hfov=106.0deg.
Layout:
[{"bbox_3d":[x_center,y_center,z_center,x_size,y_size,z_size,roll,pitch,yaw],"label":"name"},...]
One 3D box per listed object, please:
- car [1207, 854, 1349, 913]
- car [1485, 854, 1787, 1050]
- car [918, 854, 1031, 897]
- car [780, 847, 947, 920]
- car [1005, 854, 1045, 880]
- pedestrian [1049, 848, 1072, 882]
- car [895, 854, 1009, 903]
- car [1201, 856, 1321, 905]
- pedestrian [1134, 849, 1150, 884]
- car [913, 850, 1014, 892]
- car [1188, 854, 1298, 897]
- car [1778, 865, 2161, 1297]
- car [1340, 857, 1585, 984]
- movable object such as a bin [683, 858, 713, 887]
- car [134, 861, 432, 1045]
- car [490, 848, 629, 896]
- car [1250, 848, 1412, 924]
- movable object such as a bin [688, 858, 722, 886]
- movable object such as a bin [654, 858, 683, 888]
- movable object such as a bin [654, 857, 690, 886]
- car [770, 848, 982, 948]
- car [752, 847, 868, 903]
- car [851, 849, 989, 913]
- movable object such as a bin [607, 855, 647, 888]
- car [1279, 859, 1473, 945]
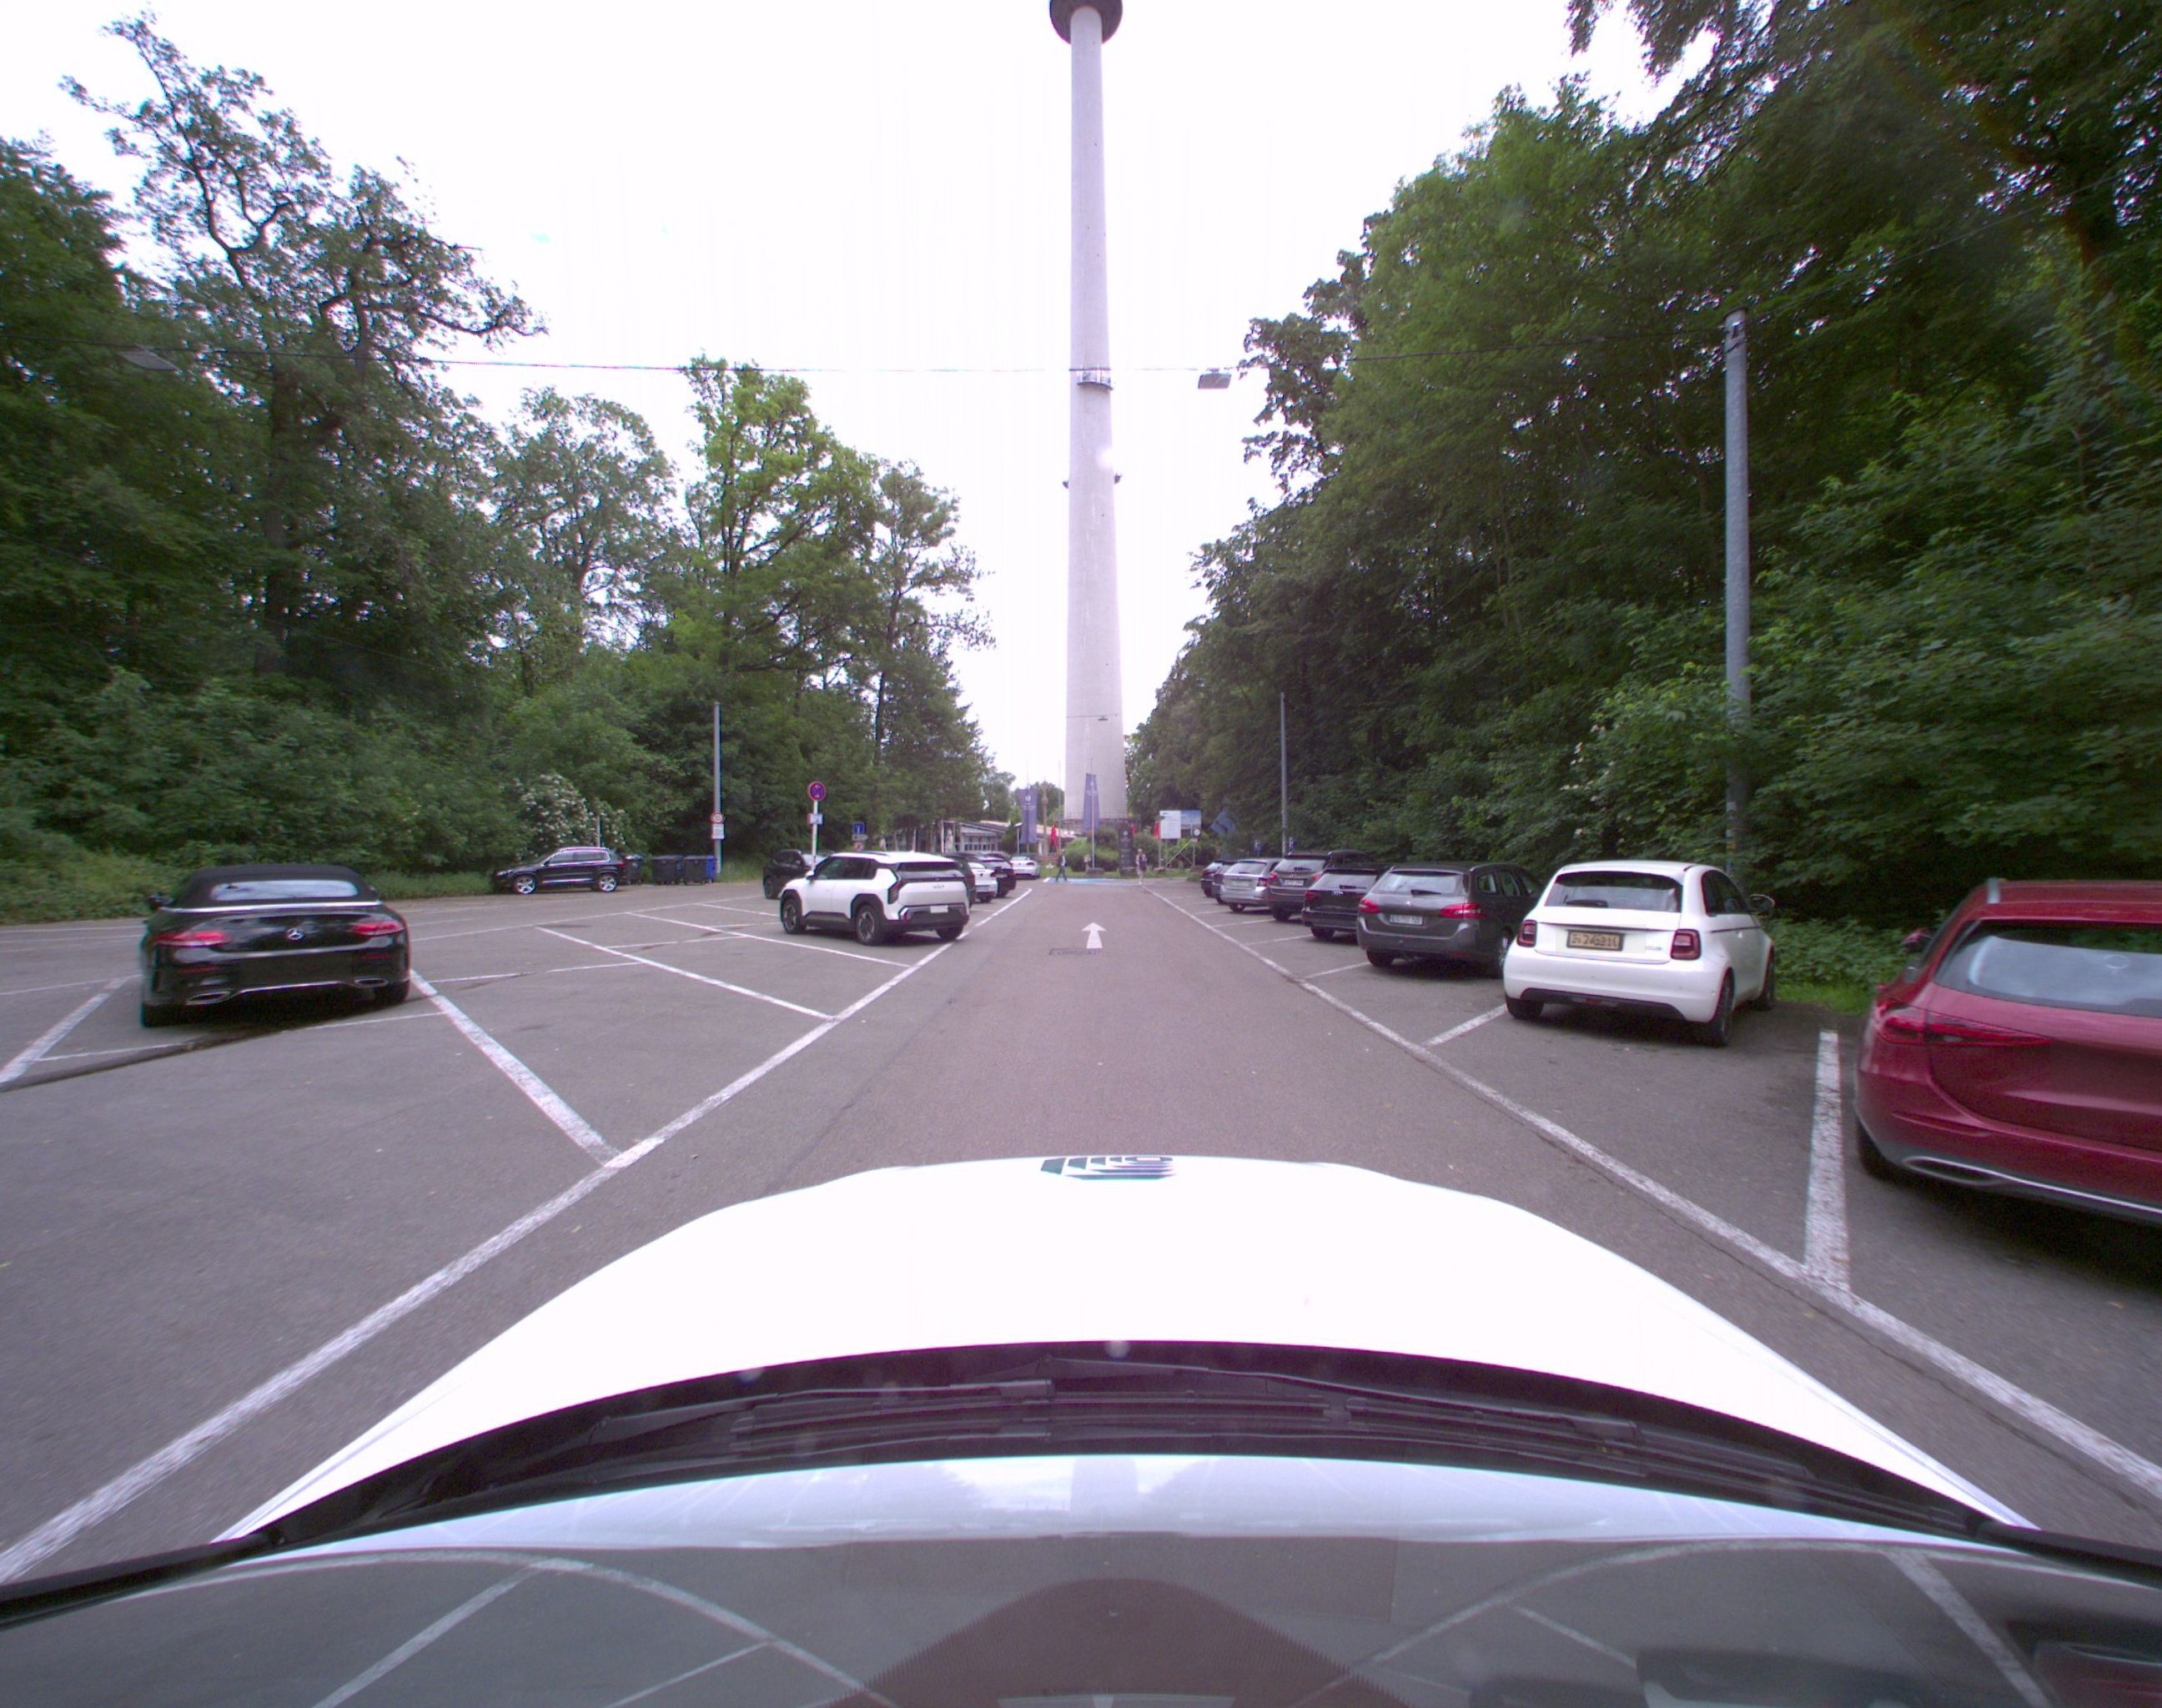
[{"bbox_3d":[5.507,0.750,22.583,4.021,1.467,1.814,-1,1,-40],"label":"car"},{"bbox_3d":[5.649,0.757,8.137,3.602,1.505,1.714,0,0,-43],"label":"car"},{"bbox_3d":[-3.909,0.735,29.436,4.225,1.443,1.770,0,0,44],"label":"car"},{"bbox_3d":[-5.242,0.627,19.442,3.948,1.554,1.885,0,0,39],"label":"car"},{"bbox_3d":[-3.121,0.703,46.403,1.886,1.428,4.002,0,0,2],"label":"car"},{"bbox_3d":[-1.054,0.547,42.044,0.885,1.725,0.769,0,0,32],"label":"pedestrian"},{"bbox_3d":[-4.212,0.735,26.307,1.783,1.443,3.799,0,0,-44],"label":"car"},{"bbox_3d":[5.822,0.788,26.091,4.023,1.422,1.886,0,0,-45],"label":"car"},{"bbox_3d":[2.966,0.603,39.749,0.758,1.725,0.898,0,0,6],"label":"pedestrian"},{"bbox_3d":[-4.866,0.654,33.451,4.333,1.609,1.840,0,0,44],"label":"car"},{"bbox_3d":[6.006,0.747,29.939,4.228,1.462,1.876,0,0,-44],"label":"car"},{"bbox_3d":[5.247,0.785,4.163,4.318,1.414,1.905,0,0,-40],"label":"car"},{"bbox_3d":[5.539,0.779,11.568,4.211,1.457,1.782,0,0,-44],"label":"car"},{"bbox_3d":[-17.582,0.842,37.397,1.176,1.307,1.301,0,0,-29],"label":"movable object such as a bin"},{"bbox_3d":[-8.498,0.810,8.642,4.262,1.442,1.881,0,0,43],"label":"car"},{"bbox_3d":[-19.367,0.633,30.348,4.094,1.685,1.857,0,0,-43],"label":"car"},{"bbox_3d":[6.116,0.685,19.699,4.287,1.636,1.941,0,0,-44],"label":"car"},{"bbox_3d":[-18.311,0.857,39.652,1.254,1.325,1.142,0,0,-12],"label":"movable object such as a bin"},{"bbox_3d":[-18.643,0.855,36.832,1.130,1.315,1.173,0,0,-29],"label":"movable object such as a bin"},{"bbox_3d":[-19.415,0.824,38.643,1.121,1.320,1.238,0,0,-4],"label":"movable object such as a bin"},{"bbox_3d":[-3.877,0.693,15.032,4.137,1.596,1.858,0,0,43],"label":"car"},{"bbox_3d":[-8.816,0.633,26.372,3.950,1.663,1.910,0,0,43],"label":"car"},{"bbox_3d":[-4.471,0.666,22.294,1.858,1.587,3.928,-1,1,-45],"label":"car"},{"bbox_3d":[-20.175,0.781,36.191,1.118,1.425,1.132,0,0,4],"label":"movable object such as a bin"},{"bbox_3d":[5.750,0.804,15.561,1.941,1.377,4.288,0,0,43],"label":"car"}]
